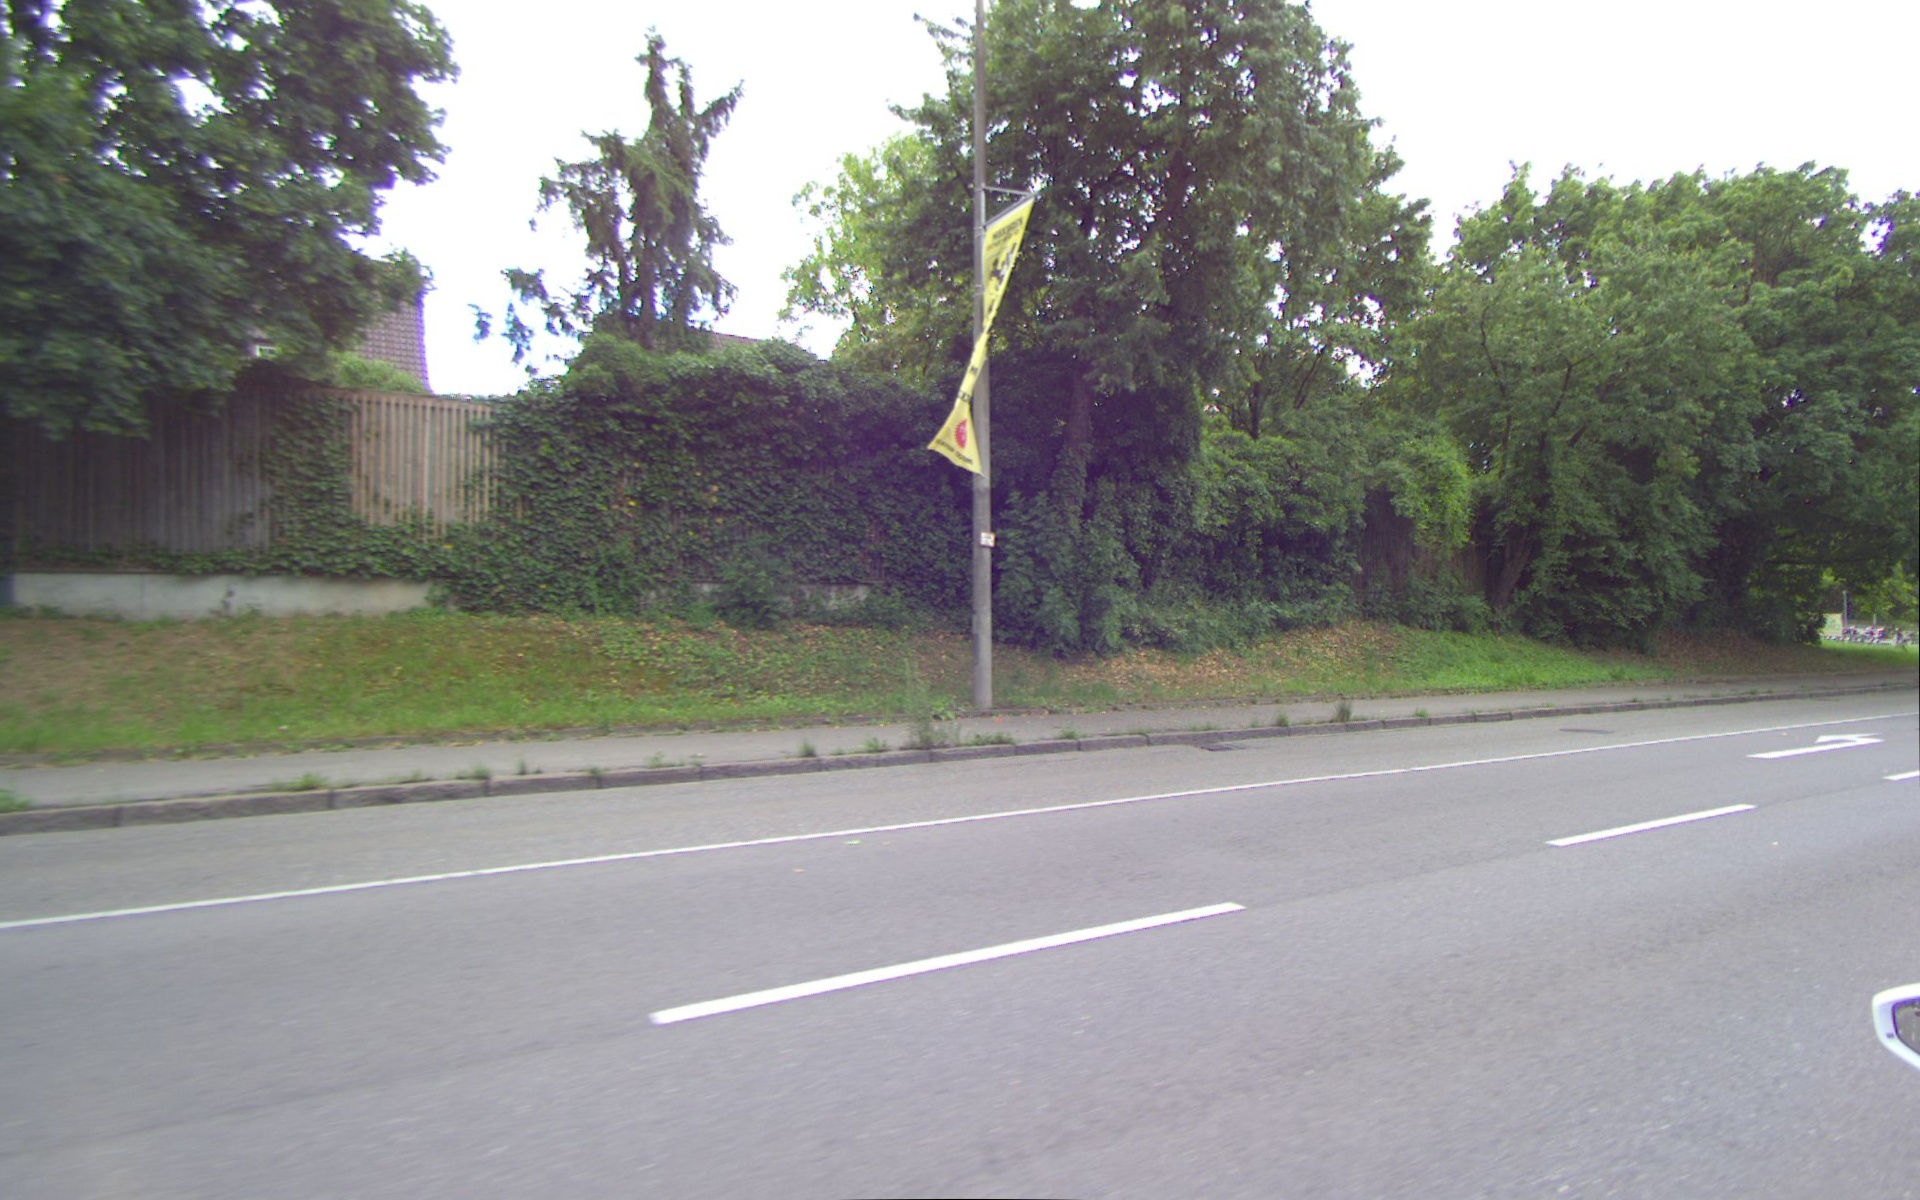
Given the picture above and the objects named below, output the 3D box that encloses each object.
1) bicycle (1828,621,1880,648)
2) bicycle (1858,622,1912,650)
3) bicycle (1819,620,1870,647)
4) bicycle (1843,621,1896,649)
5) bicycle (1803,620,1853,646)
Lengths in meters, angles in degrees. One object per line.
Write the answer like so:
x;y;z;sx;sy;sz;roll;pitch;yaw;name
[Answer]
43.954;1.688;49.377;1.896;1.269;0.546;2;1;7;bicycle
44.207;1.713;48.036;1.896;1.269;0.546;2;1;7;bicycle
44.328;1.689;50.359;1.896;1.269;0.546;2;1;7;bicycle
44.138;1.702;48.738;1.896;1.269;0.546;2;1;7;bicycle
44.311;1.677;51.288;1.896;1.269;0.546;2;1;7;bicycle
